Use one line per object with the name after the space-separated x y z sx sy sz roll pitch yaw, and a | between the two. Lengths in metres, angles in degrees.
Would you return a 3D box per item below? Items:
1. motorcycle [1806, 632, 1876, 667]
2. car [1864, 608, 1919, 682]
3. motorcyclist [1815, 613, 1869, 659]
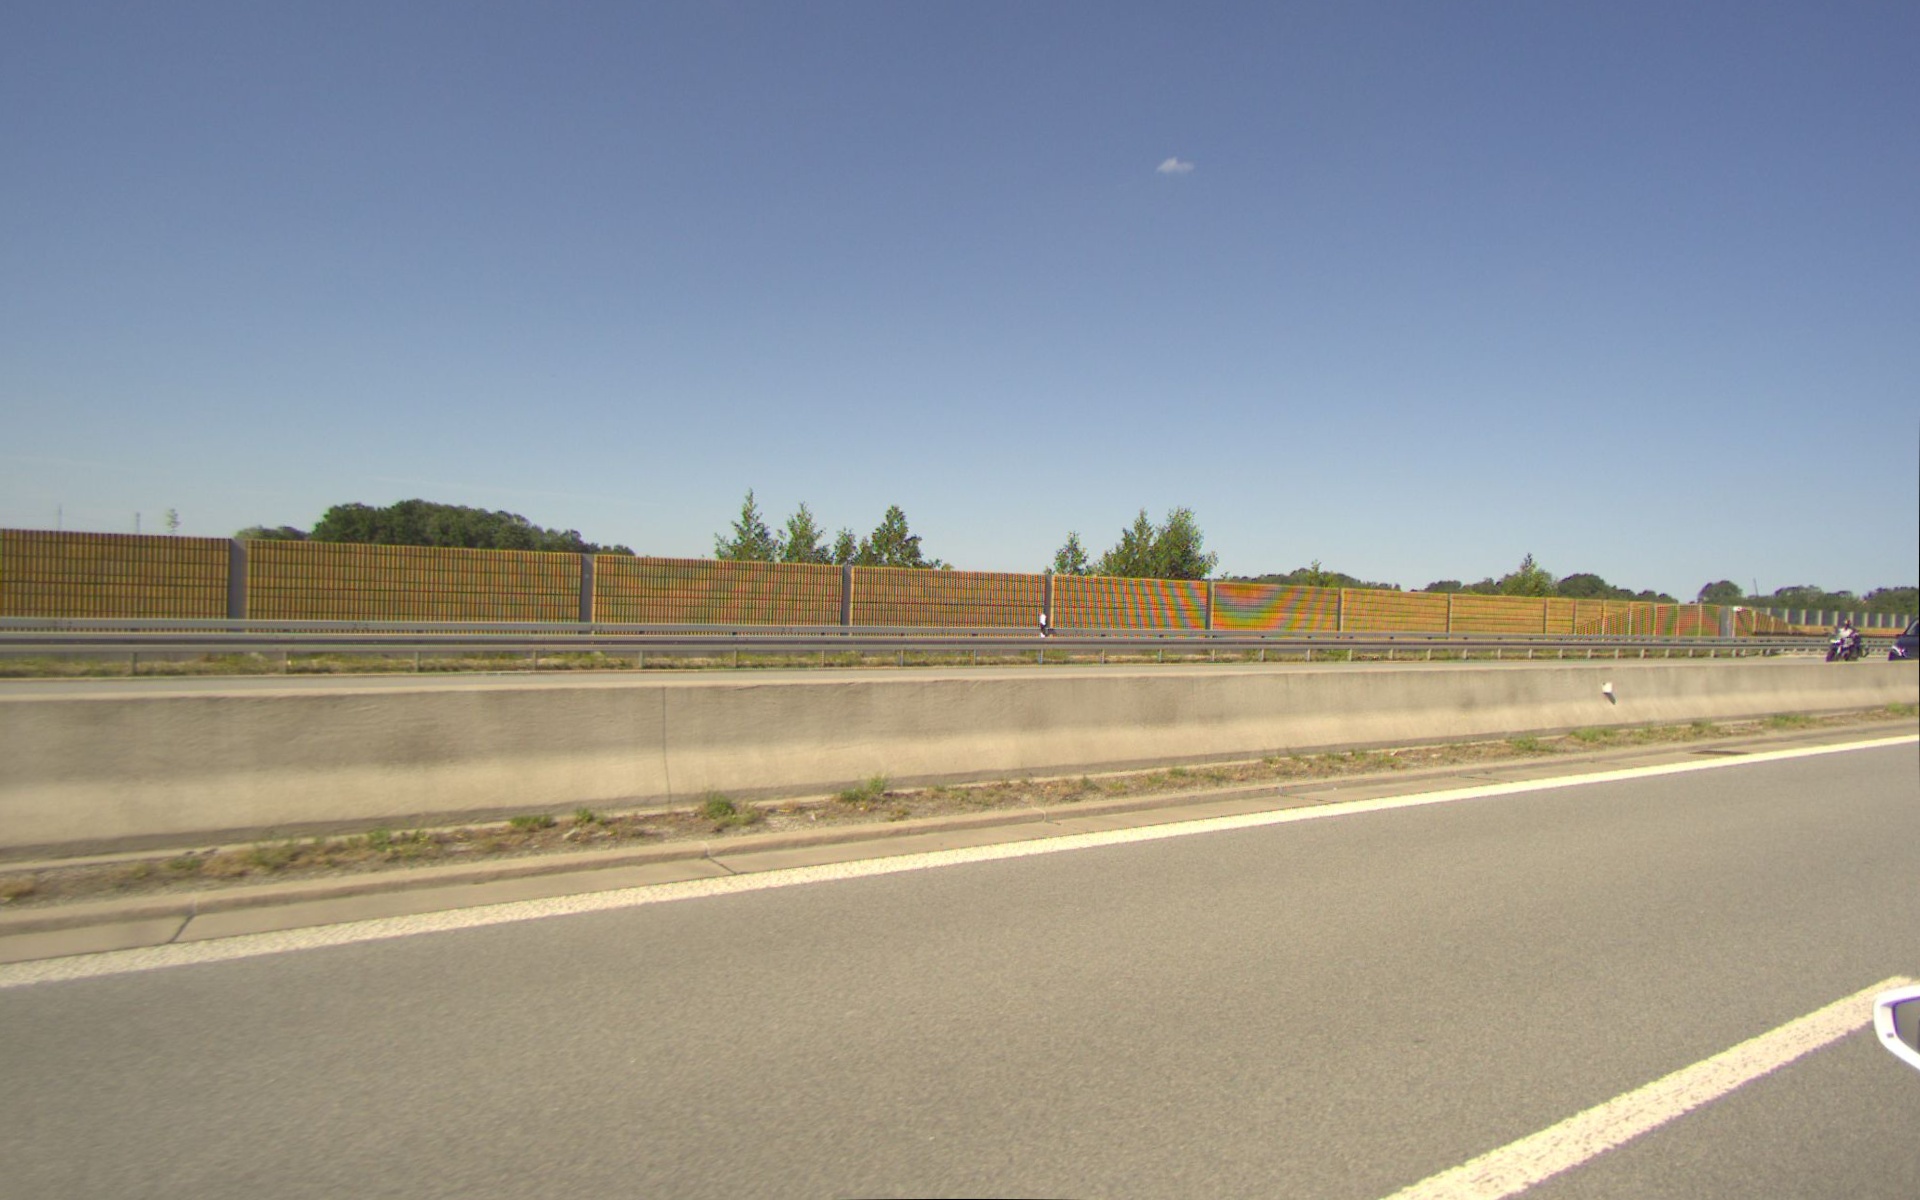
31.013 1.734 35.336 2.834 1.182 1.008 1 0 -31 | motorcycle
28.702 1.320 29.197 5.670 2.040 1.984 2 0 -30 | car
31.036 1.271 35.343 1.412 1.584 1.007 2 0 -30 | motorcyclist
